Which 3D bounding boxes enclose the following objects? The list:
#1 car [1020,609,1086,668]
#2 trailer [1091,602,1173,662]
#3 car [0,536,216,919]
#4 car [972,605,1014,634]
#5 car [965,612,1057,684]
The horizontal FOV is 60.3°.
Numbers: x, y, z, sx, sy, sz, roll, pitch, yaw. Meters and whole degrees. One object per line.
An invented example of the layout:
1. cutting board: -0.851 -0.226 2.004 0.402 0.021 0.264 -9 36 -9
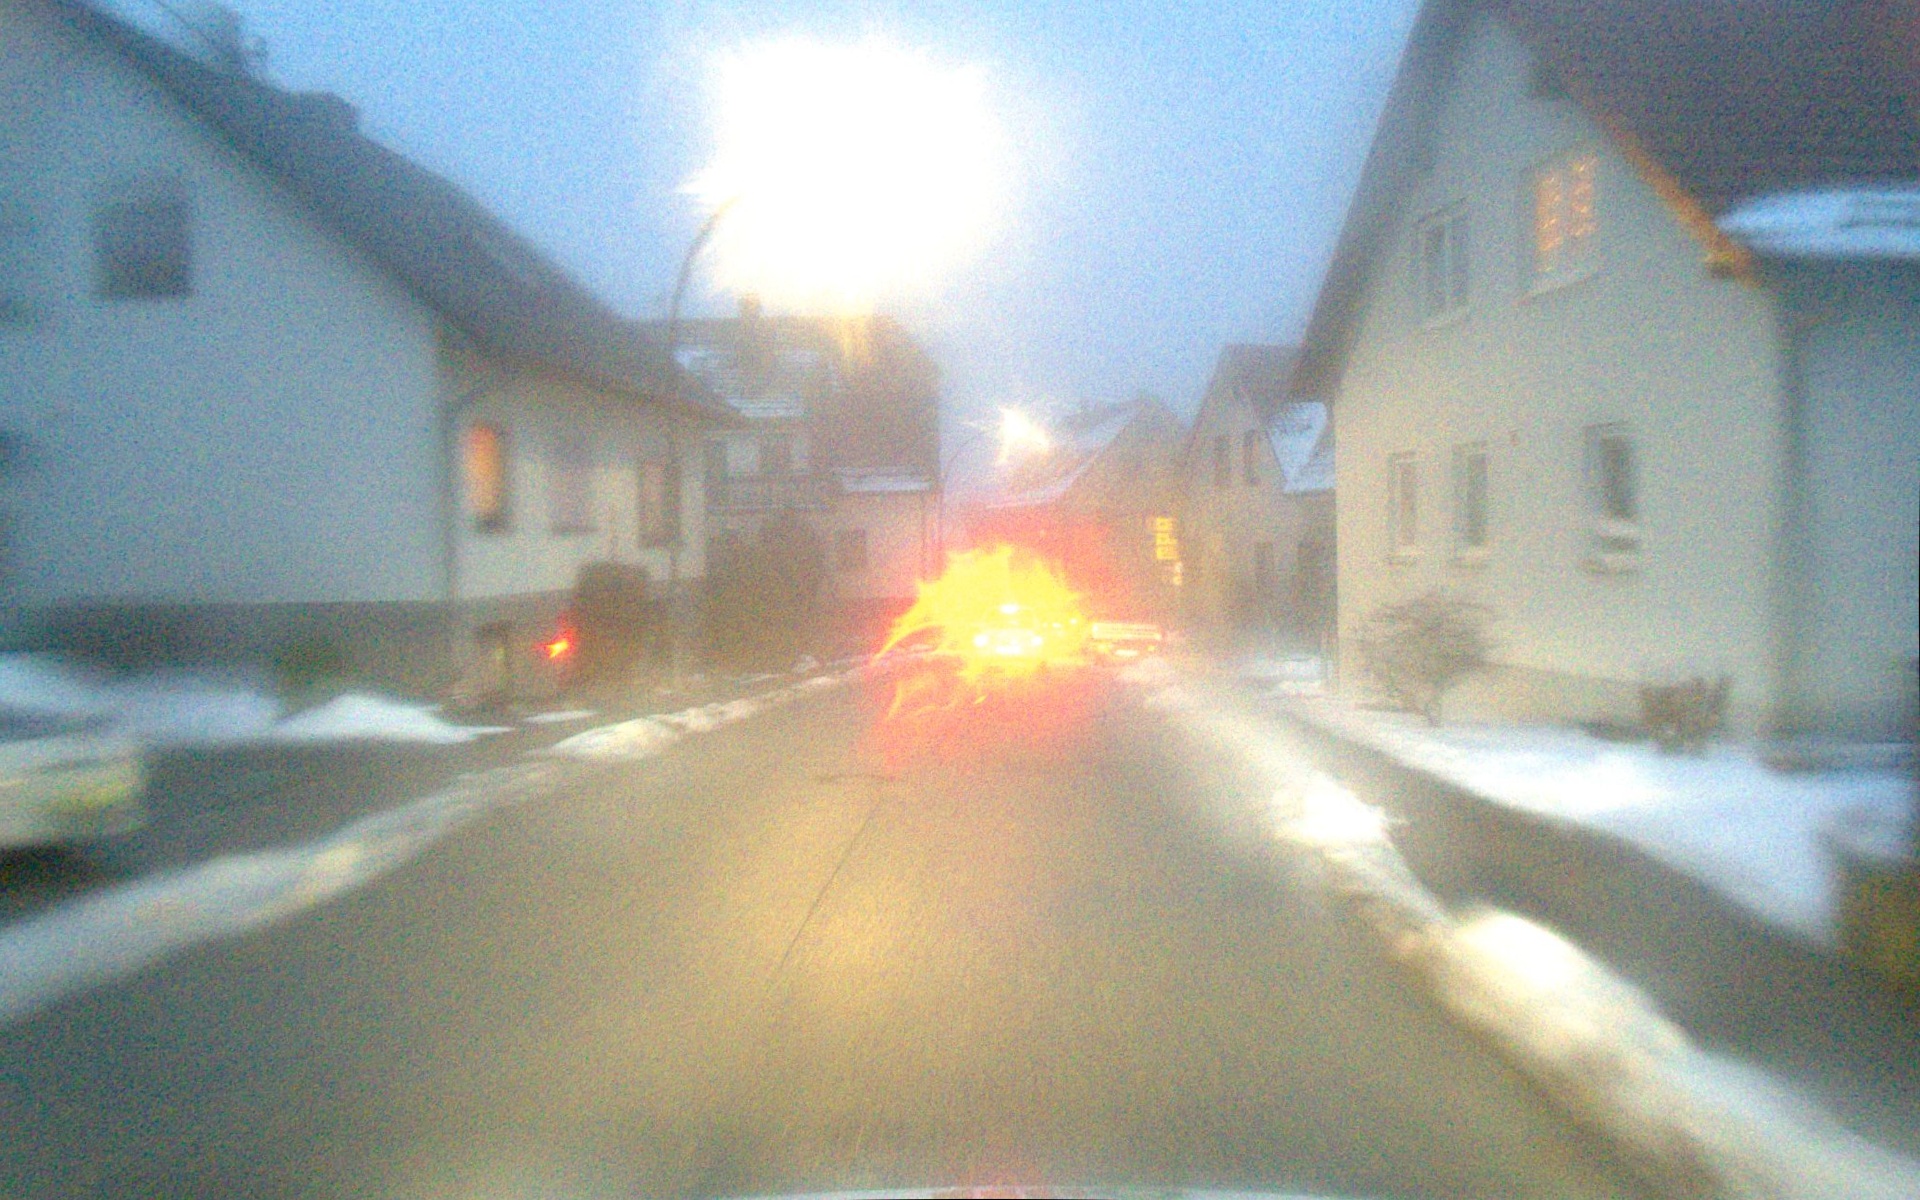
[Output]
1. car: 2.931 1.200 51.474 1.951 1.758 4.002 1 -1 4
2. trailer: 4.446 0.781 42.182 1.951 1.412 4.735 1 0 7
3. car: -6.479 0.479 8.244 4.690 1.695 1.892 2 0 6
4. car: 1.823 1.065 92.567 1.873 1.507 4.278 -1 0 -4
5. car: 1.226 1.096 37.983 1.952 1.534 4.001 1 -1 3
